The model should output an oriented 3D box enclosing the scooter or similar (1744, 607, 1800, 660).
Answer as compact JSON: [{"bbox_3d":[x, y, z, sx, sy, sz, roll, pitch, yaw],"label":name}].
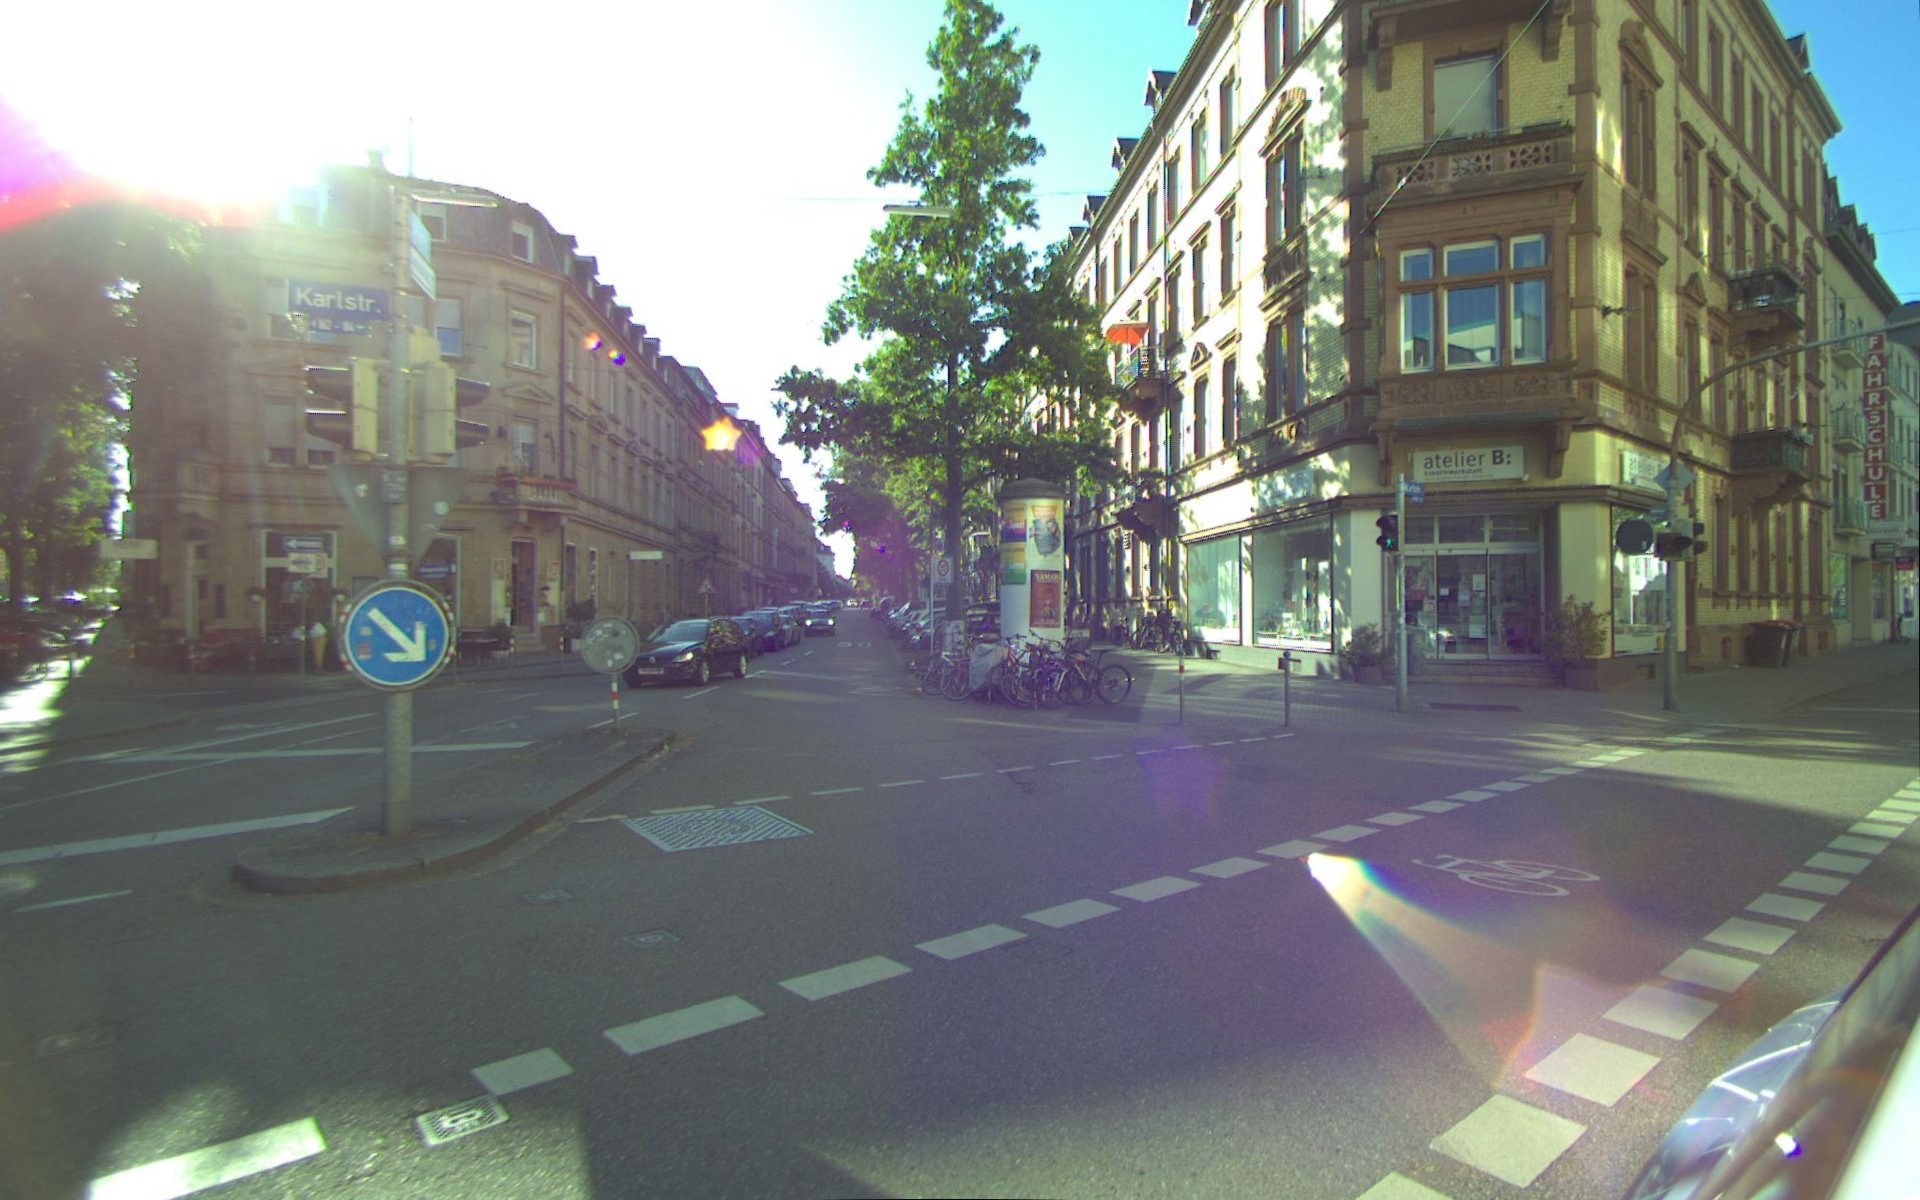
[{"bbox_3d":[19.200,0.790,23.940,0.538,1.162,0.899,1,3,-42],"label":"scooter or similar"}]

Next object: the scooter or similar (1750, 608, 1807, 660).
[{"bbox_3d":[19.856,0.803,24.557,0.639,1.162,0.935,1,3,-42],"label":"scooter or similar"}]

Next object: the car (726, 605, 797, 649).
[{"bbox_3d":[-7.903,1.029,40.598,1.812,1.625,4.246,-1,0,3],"label":"car"}]

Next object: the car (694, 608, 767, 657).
[{"bbox_3d":[-7.905,1.078,35.218,1.809,1.517,4.253,-1,0,-4],"label":"car"}]

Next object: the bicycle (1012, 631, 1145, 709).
[{"bbox_3d":[1.964,1.132,16.729,2.076,1.157,0.619,-2,0,-18],"label":"bicycle"}]

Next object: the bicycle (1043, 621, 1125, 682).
[{"bbox_3d":[2.575,1.064,21.055,1.583,1.157,0.545,-2,0,-18],"label":"bicycle"}]

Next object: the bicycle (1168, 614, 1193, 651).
[{"bbox_3d":[6.234,0.911,28.634,0.389,1.017,1.000,0,-1,-5],"label":"bicycle"}]

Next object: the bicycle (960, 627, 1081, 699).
[{"bbox_3d":[1.096,1.125,18.378,2.076,1.157,0.619,-2,0,-18],"label":"bicycle"}]

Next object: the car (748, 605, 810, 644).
[{"bbox_3d":[-8.034,1.057,45.216,1.812,1.625,4.246,-1,0,3],"label":"car"}]

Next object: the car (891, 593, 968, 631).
[{"bbox_3d":[-1.833,0.691,60.258,4.381,2.230,1.850,0,-1,-9],"label":"car"}]

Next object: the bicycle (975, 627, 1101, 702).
[{"bbox_3d":[1.364,1.105,17.674,2.076,1.157,0.619,-2,0,-18],"label":"bicycle"}]

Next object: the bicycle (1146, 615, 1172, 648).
[{"bbox_3d":[5.941,0.934,30.274,0.389,0.969,1.288,0,-1,-5],"label":"bicycle"}]

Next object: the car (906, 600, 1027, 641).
[{"bbox_3d":[0.203,0.686,34.831,3.917,1.374,1.554,0,-1,-10],"label":"car"}]

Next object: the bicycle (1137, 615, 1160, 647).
[{"bbox_3d":[5.900,0.970,31.719,0.389,0.969,1.288,0,-1,-5],"label":"bicycle"}]

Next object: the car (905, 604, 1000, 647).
[{"bbox_3d":[-0.324,1.056,42.579,3.784,1.780,1.523,0,-1,-10],"label":"car"}]

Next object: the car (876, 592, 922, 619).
[{"bbox_3d":[-5.486,0.498,90.682,3.918,2.351,1.553,0,-1,-9],"label":"car"}]

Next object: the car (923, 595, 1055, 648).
[{"bbox_3d":[0.882,0.672,32.427,3.917,1.622,1.828,0,-1,-10],"label":"car"}]

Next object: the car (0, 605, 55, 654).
[{"bbox_3d":[-29.801,0.890,30.004,1.619,1.450,4.146,-1,0,22],"label":"car"}]

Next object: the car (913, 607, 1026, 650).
[{"bbox_3d":[0.322,1.033,37.232,3.917,1.545,1.554,0,-1,-10],"label":"car"}]

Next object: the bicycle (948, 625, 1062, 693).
[{"bbox_3d":[0.875,1.125,19.537,2.076,1.157,0.619,-2,0,-18],"label":"bicycle"}]

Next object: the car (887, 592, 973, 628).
[{"bbox_3d":[-1.652,0.538,54.806,4.577,1.856,1.552,0,-1,-5],"label":"car"}]

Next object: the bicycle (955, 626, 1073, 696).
[{"bbox_3d":[1.009,1.118,18.924,2.076,1.157,0.619,-2,0,-18],"label":"bicycle"}]

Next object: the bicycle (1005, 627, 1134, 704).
[{"bbox_3d":[1.861,1.094,17.188,2.076,1.157,0.619,-2,0,-18],"label":"bicycle"}]

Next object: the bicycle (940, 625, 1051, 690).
[{"bbox_3d":[0.704,1.122,20.111,2.076,1.157,0.619,-2,0,-18],"label":"bicycle"}]

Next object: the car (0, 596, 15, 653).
[{"bbox_3d":[-34.031,0.860,33.337,1.619,1.886,3.970,1,1,22],"label":"car"}]

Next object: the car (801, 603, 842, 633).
[{"bbox_3d":[-7.888,1.004,57.981,1.810,1.625,4.250,-1,0,0],"label":"car"}]

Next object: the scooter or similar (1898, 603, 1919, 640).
[{"bbox_3d":[37.071,0.873,39.111,1.257,1.292,0.414,6,14,-25],"label":"scooter or similar"}]

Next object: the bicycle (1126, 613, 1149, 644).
[{"bbox_3d":[5.855,0.933,33.364,0.389,0.969,1.347,0,-1,-5],"label":"bicycle"}]

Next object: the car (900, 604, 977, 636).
[{"bbox_3d":[-1.096,0.985,50.159,3.608,1.545,1.553,0,-1,-9],"label":"car"}]

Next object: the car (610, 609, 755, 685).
[{"bbox_3d":[-6.152,0.993,22.989,1.813,1.517,4.244,-1,0,5],"label":"car"}]

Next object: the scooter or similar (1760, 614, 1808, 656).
[{"bbox_3d":[20.405,0.851,25.059,0.669,0.969,0.792,0,3,-42],"label":"scooter or similar"}]

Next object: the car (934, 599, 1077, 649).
[{"bbox_3d":[1.324,0.687,30.072,3.917,1.389,1.828,0,-1,-10],"label":"car"}]

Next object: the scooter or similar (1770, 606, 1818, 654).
[{"bbox_3d":[21.462,0.767,26.038,0.776,1.162,0.792,0,3,-42],"label":"scooter or similar"}]

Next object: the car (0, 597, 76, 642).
[{"bbox_3d":[-40.755,0.840,43.321,1.977,1.886,3.974,-1,0,19],"label":"car"}]

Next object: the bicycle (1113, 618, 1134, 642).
[{"bbox_3d":[5.634,1.019,34.987,0.389,0.808,1.347,0,-1,-5],"label":"bicycle"}]
